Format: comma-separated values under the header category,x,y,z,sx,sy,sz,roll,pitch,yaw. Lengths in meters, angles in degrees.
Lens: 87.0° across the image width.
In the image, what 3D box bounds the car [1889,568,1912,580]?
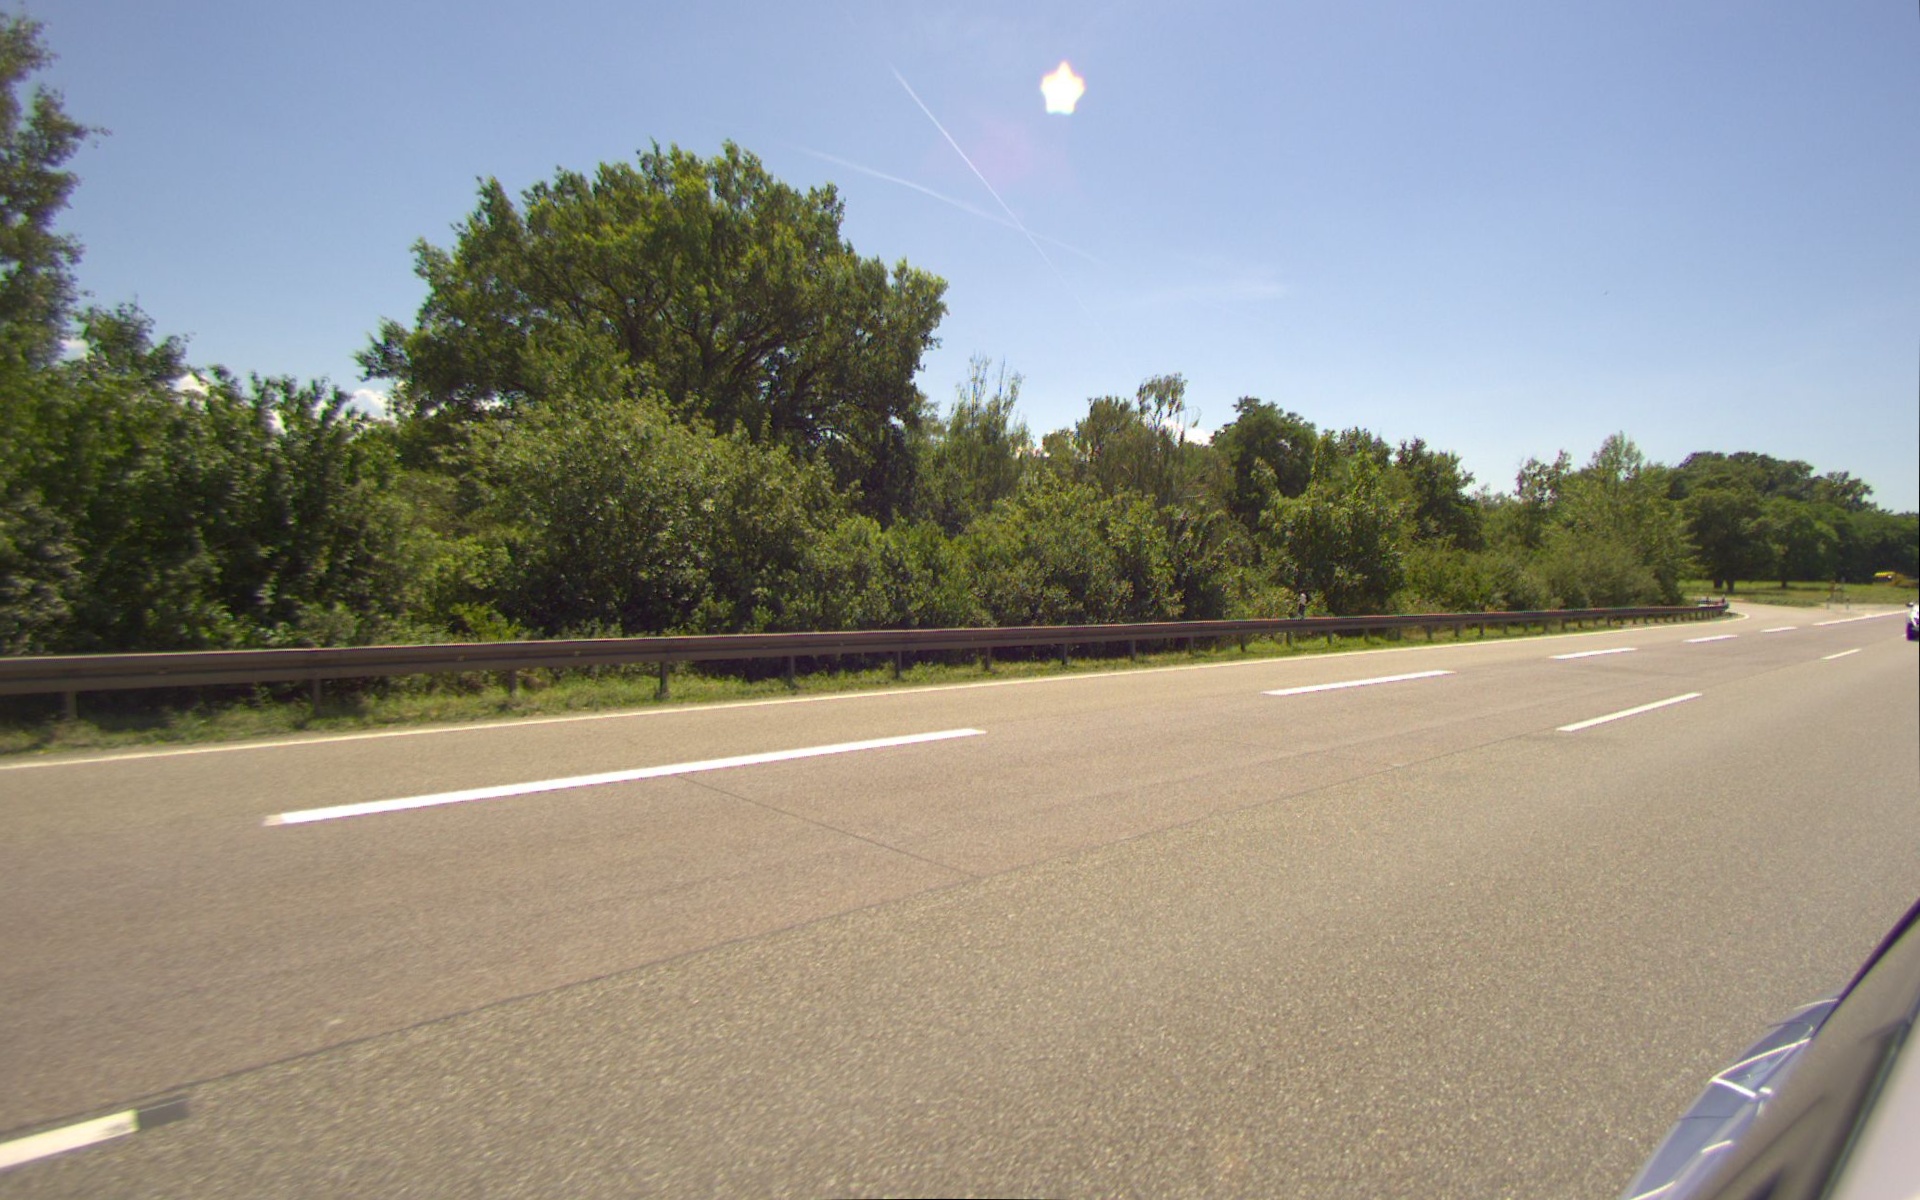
category,x,y,z,sx,sy,sz,roll,pitch,yaw
car,171.376,-4.728,184.418,6.651,2.038,2.559,-1,3,-43
